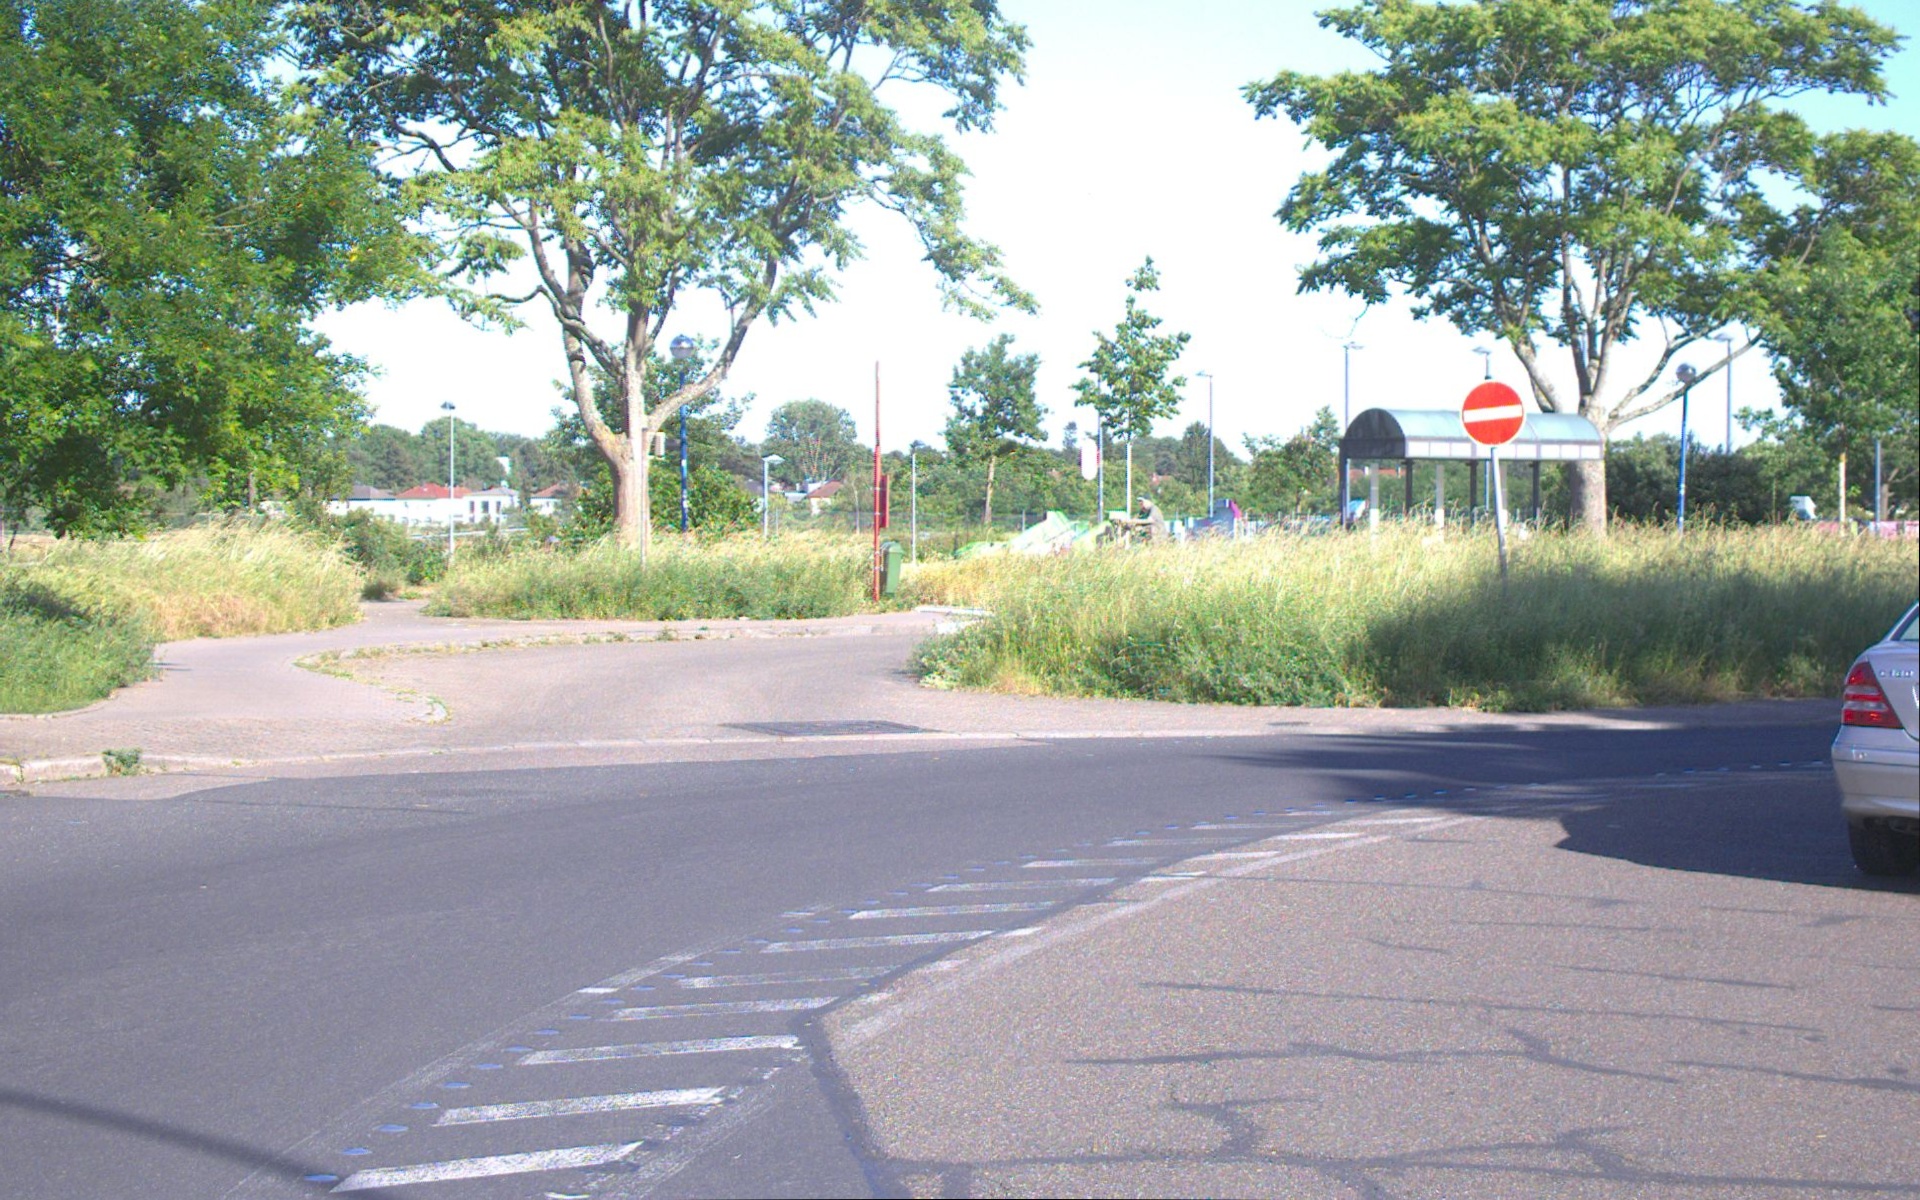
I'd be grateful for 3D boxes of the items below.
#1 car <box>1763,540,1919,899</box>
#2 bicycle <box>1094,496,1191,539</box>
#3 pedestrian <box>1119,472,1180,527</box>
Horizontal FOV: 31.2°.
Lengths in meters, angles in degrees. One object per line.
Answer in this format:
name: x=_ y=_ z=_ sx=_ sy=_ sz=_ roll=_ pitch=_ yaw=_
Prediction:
car: x=5.303 y=0.483 z=15.834 sx=1.819 sy=1.458 sz=4.353 roll=2 pitch=2 yaw=31
bicycle: x=3.171 y=-1.437 z=59.659 sx=1.571 sy=0.702 sz=0.654 roll=0 pitch=2 yaw=-33
pedestrian: x=3.292 y=-1.751 z=59.734 sx=0.797 sy=0.937 sz=0.703 roll=0 pitch=2 yaw=-33
